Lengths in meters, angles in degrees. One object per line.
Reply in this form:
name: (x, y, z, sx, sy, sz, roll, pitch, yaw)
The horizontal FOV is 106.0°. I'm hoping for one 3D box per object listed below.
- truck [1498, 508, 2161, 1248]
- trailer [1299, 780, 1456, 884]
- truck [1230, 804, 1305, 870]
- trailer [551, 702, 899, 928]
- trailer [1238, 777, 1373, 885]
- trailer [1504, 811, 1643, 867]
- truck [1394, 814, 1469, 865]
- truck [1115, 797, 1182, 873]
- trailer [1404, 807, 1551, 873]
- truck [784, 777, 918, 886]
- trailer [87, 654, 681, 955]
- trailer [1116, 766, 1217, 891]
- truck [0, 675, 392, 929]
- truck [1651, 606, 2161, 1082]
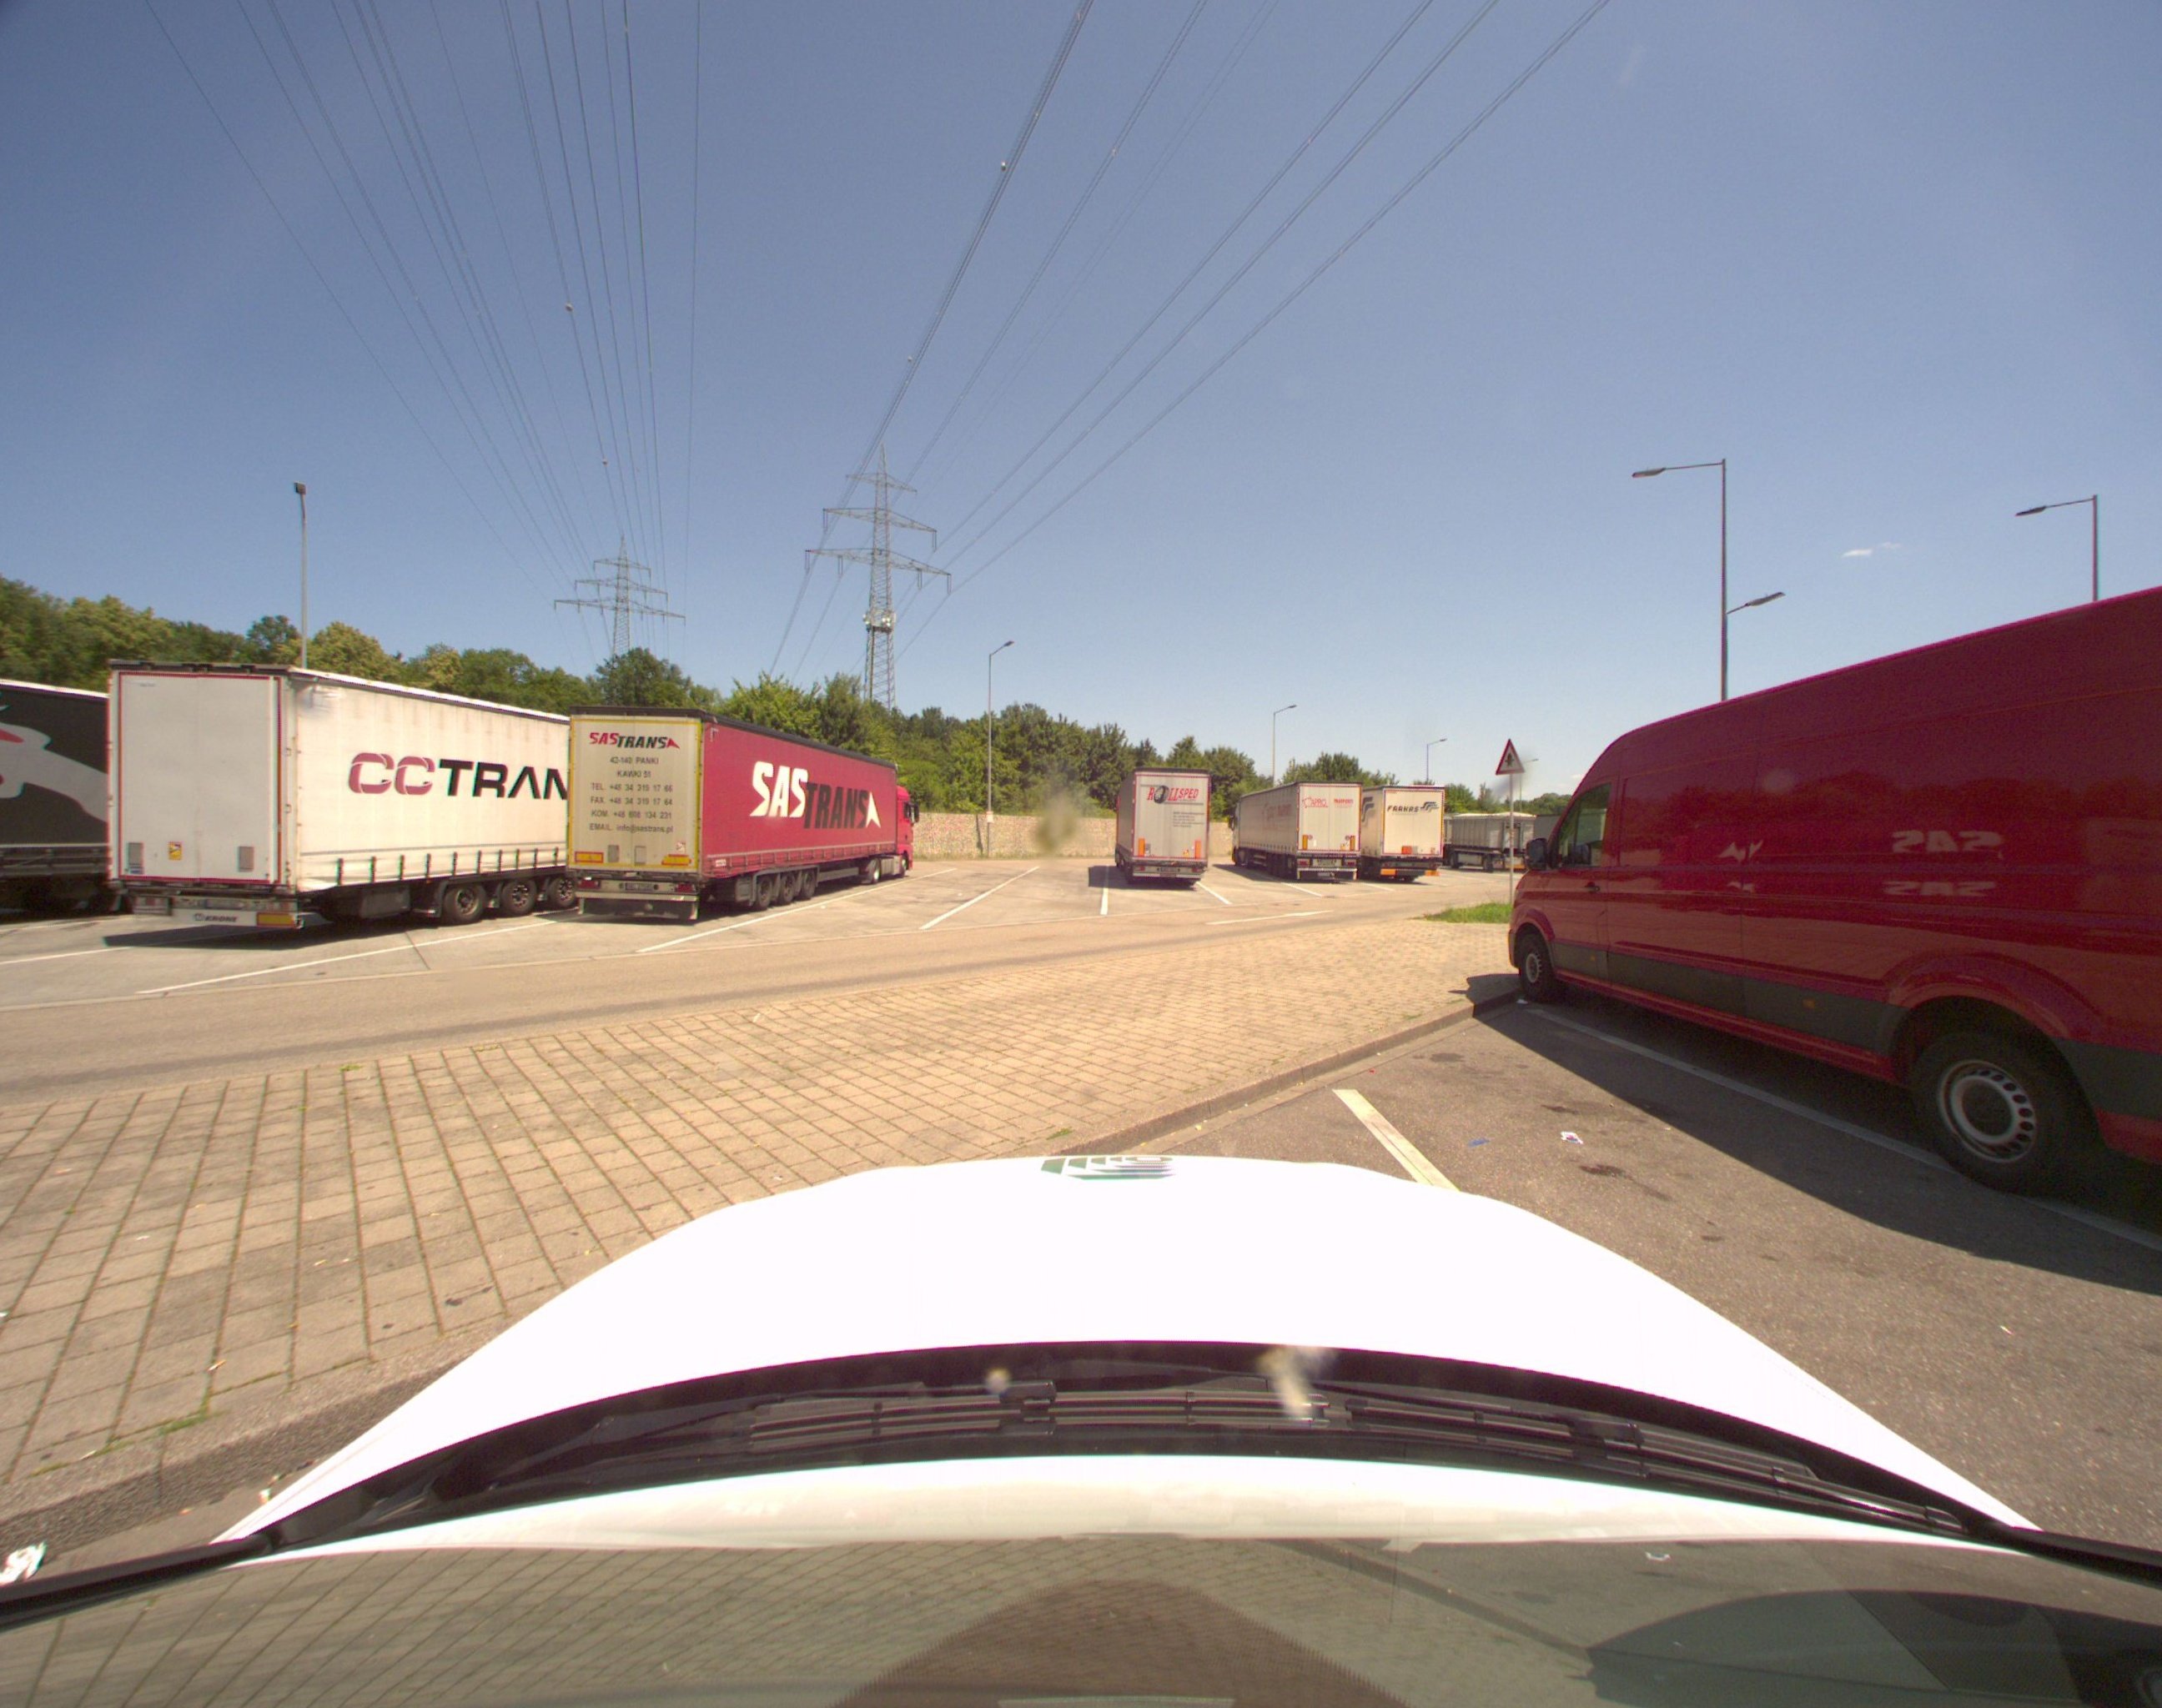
truck: (5.148, 0.082, 5.441, 2.001, 2.651, 6.466, -1, 0, 6)
trailer: (13.614, -1.090, 39.212, 2.847, 4.109, 13.770, 1, 2, 2)
truck: (10.183, -0.974, 45.052, 2.855, 3.362, 5.977, 1, 2, 2)
trailer: (-8.041, -0.927, 21.715, 2.811, 4.070, 13.770, 1, 2, 2)
trailer: (9.985, -1.117, 38.288, 2.847, 4.109, 13.770, 1, 2, 2)
trailer: (38.226, -1.287, 64.169, 2.847, 3.904, 13.770, 1, 2, 2)
truck: (24.631, -1.076, 57.584, 2.855, 3.362, 5.977, 1, 2, 2)
truck: (3.144, -0.937, 39.399, 2.855, 3.362, 5.977, 1, 2, 2)
trailer: (24.445, -0.988, 51.487, 2.847, 3.599, 13.770, 1, 2, 2)
truck: (-7.827, -0.794, 28.531, 2.801, 3.362, 5.977, 1, 2, 2)
trailer: (-12.155, -0.842, 16.410, 2.696, 4.101, 10.395, 1, 2, 2)
trailer: (3.053, -1.046, 33.197, 2.848, 3.971, 13.767, 1, 2, 1)
truck: (-18.544, -0.940, 15.818, 2.696, 4.070, 8.694, 1, 2, 2)
truck: (8.007, -0.068, 6.874, 2.406, 2.906, 6.466, -1, 0, 6)
